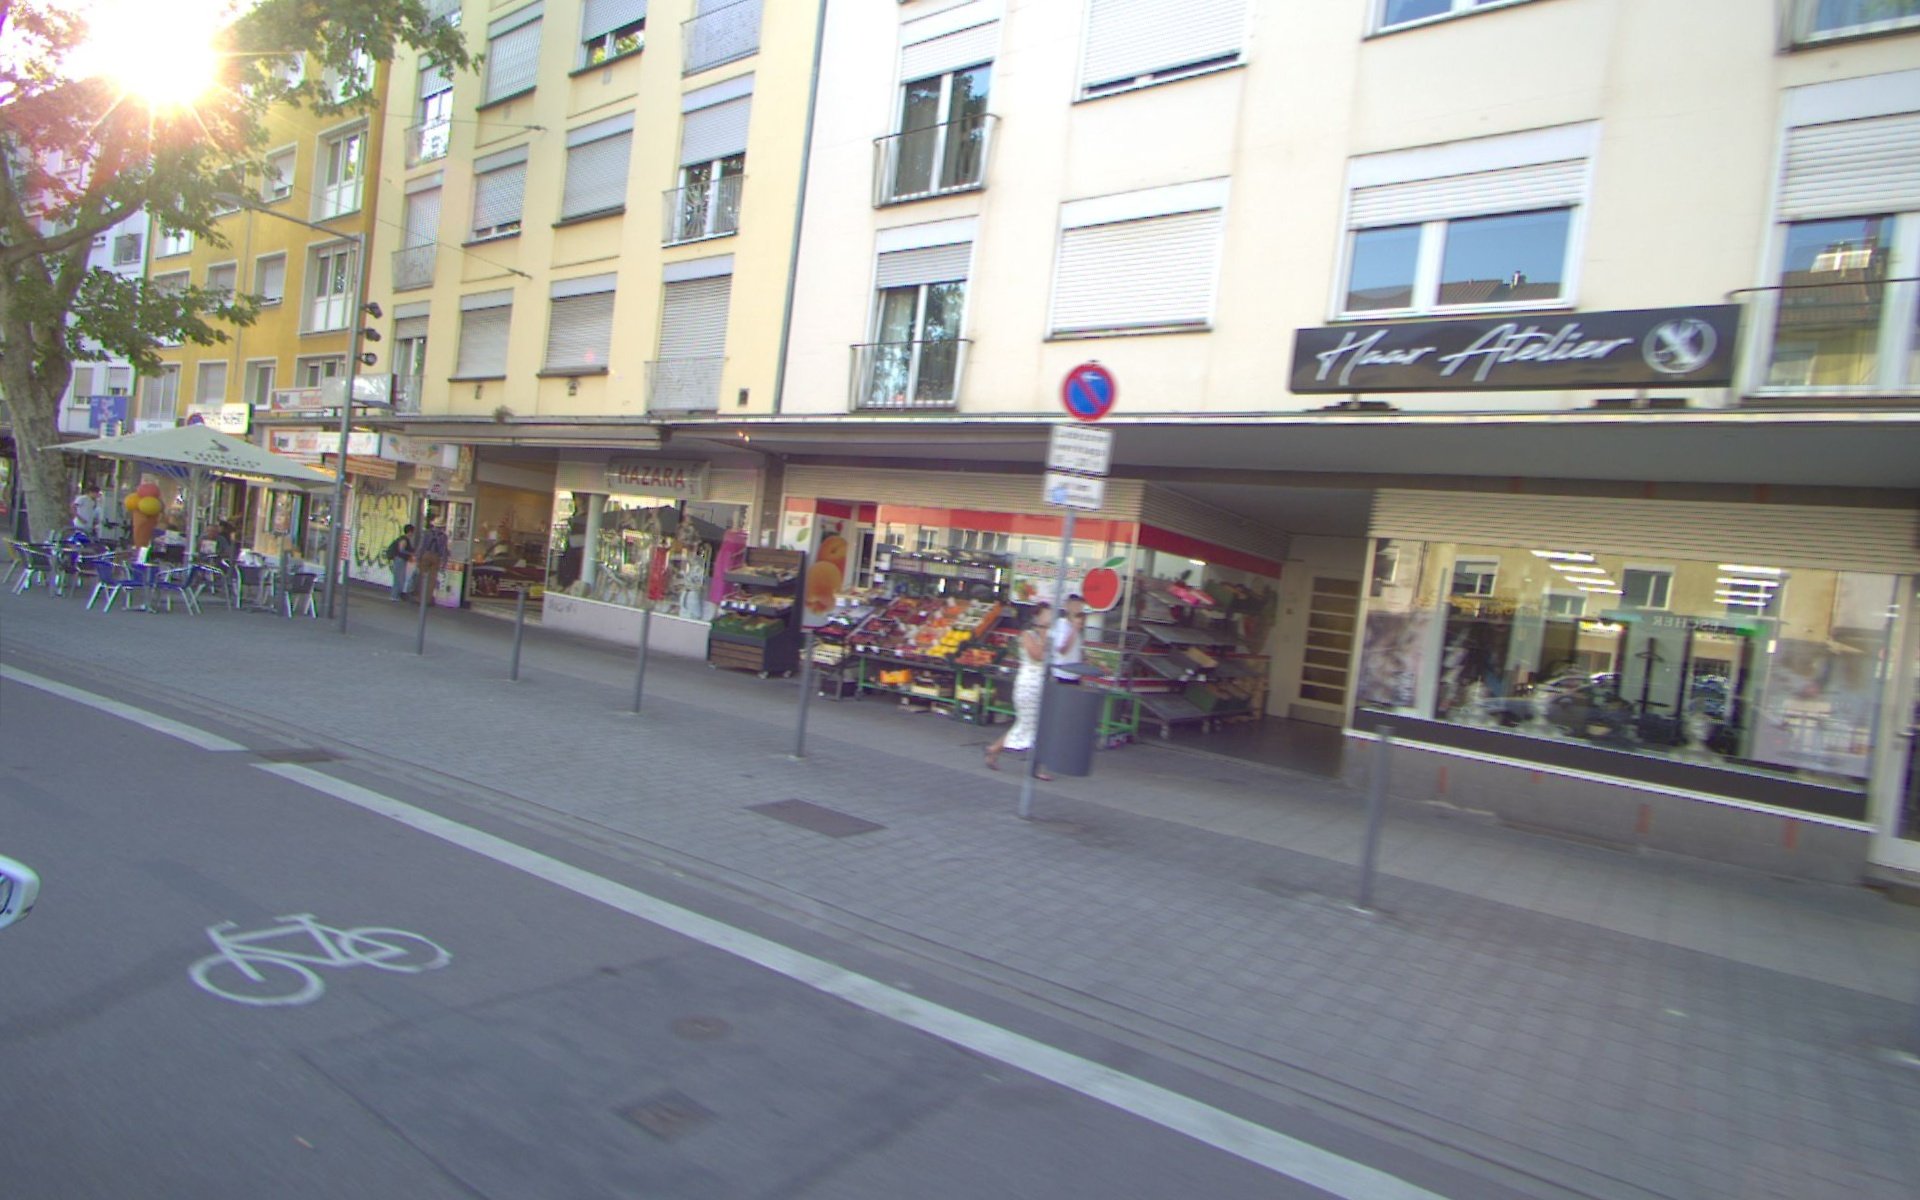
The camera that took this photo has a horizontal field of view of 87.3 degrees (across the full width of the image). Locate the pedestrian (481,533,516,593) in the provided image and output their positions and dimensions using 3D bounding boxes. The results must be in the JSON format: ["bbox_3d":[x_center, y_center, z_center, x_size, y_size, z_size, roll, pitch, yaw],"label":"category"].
[{"bbox_3d":[-10.584,-0.855,23.085,0.500,1.313,0.426,7,1,33],"label":"pedestrian"}]

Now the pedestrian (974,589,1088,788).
[{"bbox_3d":[0.622,0.745,8.776,0.617,1.608,0.635,7,3,35],"label":"pedestrian"}]

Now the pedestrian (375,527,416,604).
[{"bbox_3d":[-12.017,-0.739,21.421,0.619,1.566,0.632,6,1,-30],"label":"pedestrian"}]

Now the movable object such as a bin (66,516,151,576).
[{"bbox_3d":[-17.551,-1.101,20.761,0.824,1.035,0.930,7,-1,8],"label":"movable object such as a bin"}]

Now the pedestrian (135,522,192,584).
[{"bbox_3d":[-16.279,-0.959,20.554,0.738,1.128,0.584,7,-1,30],"label":"pedestrian"}]

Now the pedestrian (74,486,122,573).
[{"bbox_3d":[-19.235,-1.553,22.443,0.466,1.855,0.517,6,1,8],"label":"pedestrian"}]

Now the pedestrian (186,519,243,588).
[{"bbox_3d":[-15.349,-0.956,20.714,0.746,1.290,0.584,7,-1,30],"label":"pedestrian"}]

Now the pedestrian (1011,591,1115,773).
[{"bbox_3d":[0.979,0.751,9.507,0.617,1.608,0.621,7,3,35],"label":"pedestrian"}]

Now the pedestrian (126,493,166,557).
[{"bbox_3d":[-24.201,-2.222,29.901,0.775,1.816,0.706,7,4,35],"label":"pedestrian"}]

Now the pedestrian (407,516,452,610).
[{"bbox_3d":[-10.824,-0.746,20.533,0.629,1.827,0.623,6,1,-25],"label":"pedestrian"}]

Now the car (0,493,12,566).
[{"bbox_3d":[-21.083,-1.565,19.843,1.713,1.559,3.600,6,0,-11],"label":"car"}]

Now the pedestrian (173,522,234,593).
[{"bbox_3d":[-14.411,-0.801,19.168,0.732,1.240,0.606,7,1,30],"label":"pedestrian"}]

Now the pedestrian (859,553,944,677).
[{"bbox_3d":[-0.896,0.231,15.459,0.866,1.764,0.685,7,-1,33],"label":"pedestrian"}]
